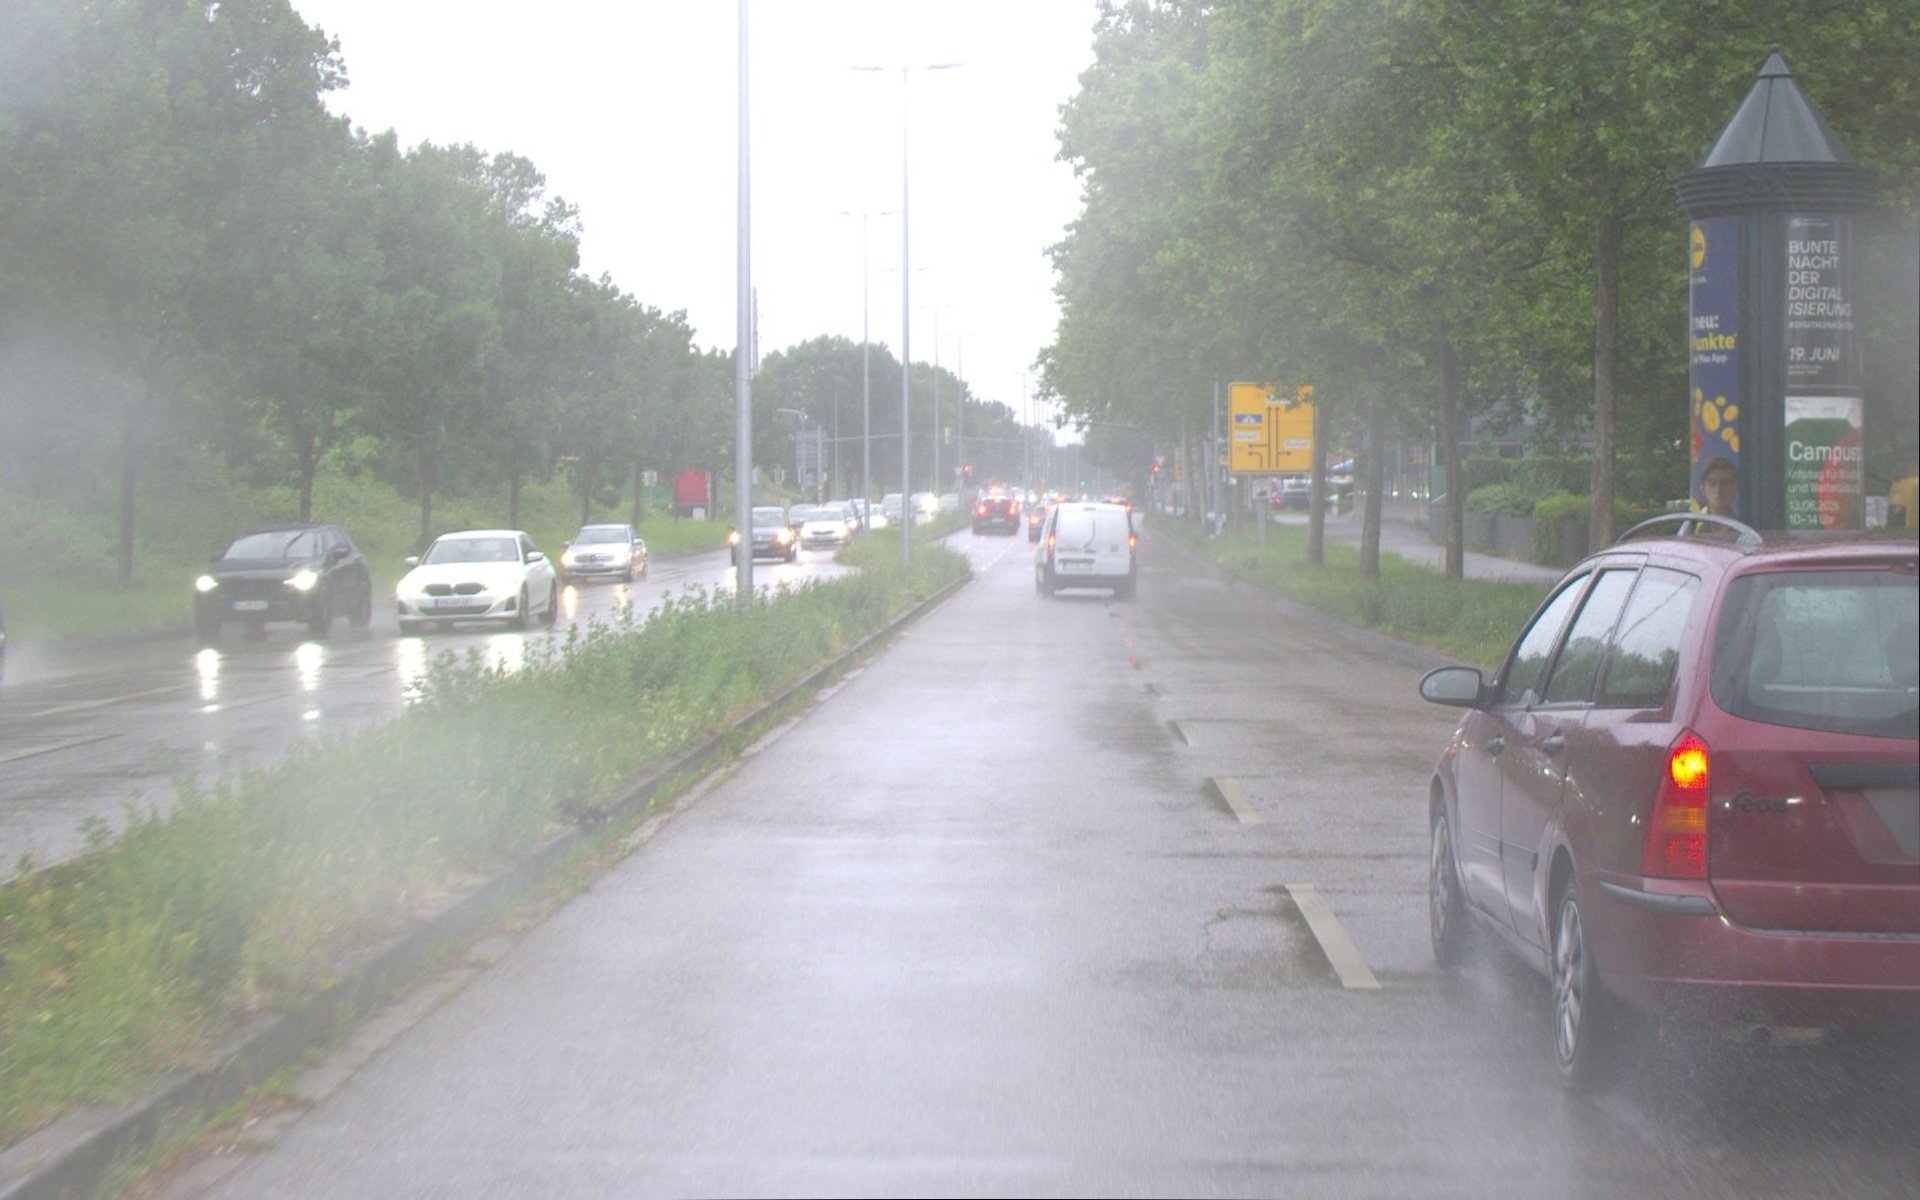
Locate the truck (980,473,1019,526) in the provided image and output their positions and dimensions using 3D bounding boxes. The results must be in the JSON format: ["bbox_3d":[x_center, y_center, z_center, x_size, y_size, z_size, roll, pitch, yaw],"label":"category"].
[{"bbox_3d":[1.862,-4.776,162.657,1.756,2.458,4.000,1,2,1],"label":"truck"}]

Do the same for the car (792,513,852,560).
[{"bbox_3d":[-4.912,-2.289,123.111,1.898,1.607,4.112,-1,2,1],"label":"car"}]

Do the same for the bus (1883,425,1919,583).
[{"bbox_3d":[18.391,-1.622,58.565,4.793,2.638,2.000,0,2,3],"label":"bus"}]

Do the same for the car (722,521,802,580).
[{"bbox_3d":[-5.876,-1.485,102.524,1.898,1.607,4.111,-2,2,3],"label":"car"}]

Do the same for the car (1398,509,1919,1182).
[{"bbox_3d":[2.437,0.523,9.978,1.839,1.531,4.112,1,2,1],"label":"car"}]

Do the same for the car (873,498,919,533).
[{"bbox_3d":[-3.152,-4.199,170.306,1.909,1.569,4.709,-3,2,2],"label":"car"}]

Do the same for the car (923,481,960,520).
[{"bbox_3d":[-1.101,-5.952,205.655,1.824,1.568,4.362,9,9,2],"label":"car"}]

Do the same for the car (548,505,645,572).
[{"bbox_3d":[-9.123,-1.560,86.601,1.898,1.607,4.478,-1,2,1],"label":"car"}]

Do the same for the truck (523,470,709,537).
[{"bbox_3d":[-18.928,-5.280,189.666,10.109,3.440,2.658,0,1,-35],"label":"truck"}]

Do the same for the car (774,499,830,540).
[{"bbox_3d":[-6.818,-3.499,148.650,1.993,1.682,4.709,-2,2,2],"label":"car"}]

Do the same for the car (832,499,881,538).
[{"bbox_3d":[-4.394,-3.459,145.409,1.908,1.569,4.710,-2,2,-3],"label":"car"}]

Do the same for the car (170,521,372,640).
[{"bbox_3d":[-10.321,-0.340,51.833,2.037,1.654,4.679,-1,2,1],"label":"car"}]

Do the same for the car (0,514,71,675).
[{"bbox_3d":[-10.571,-0.049,34.897,1.898,1.607,4.406,-1,2,1],"label":"car"}]

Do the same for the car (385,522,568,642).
[{"bbox_3d":[-7.134,-0.311,51.147,1.898,1.607,4.712,-2,2,1],"label":"car"}]

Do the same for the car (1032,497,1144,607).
[{"bbox_3d":[2.411,-0.911,65.654,1.993,2.007,4.000,1,1,1],"label":"car"}]
